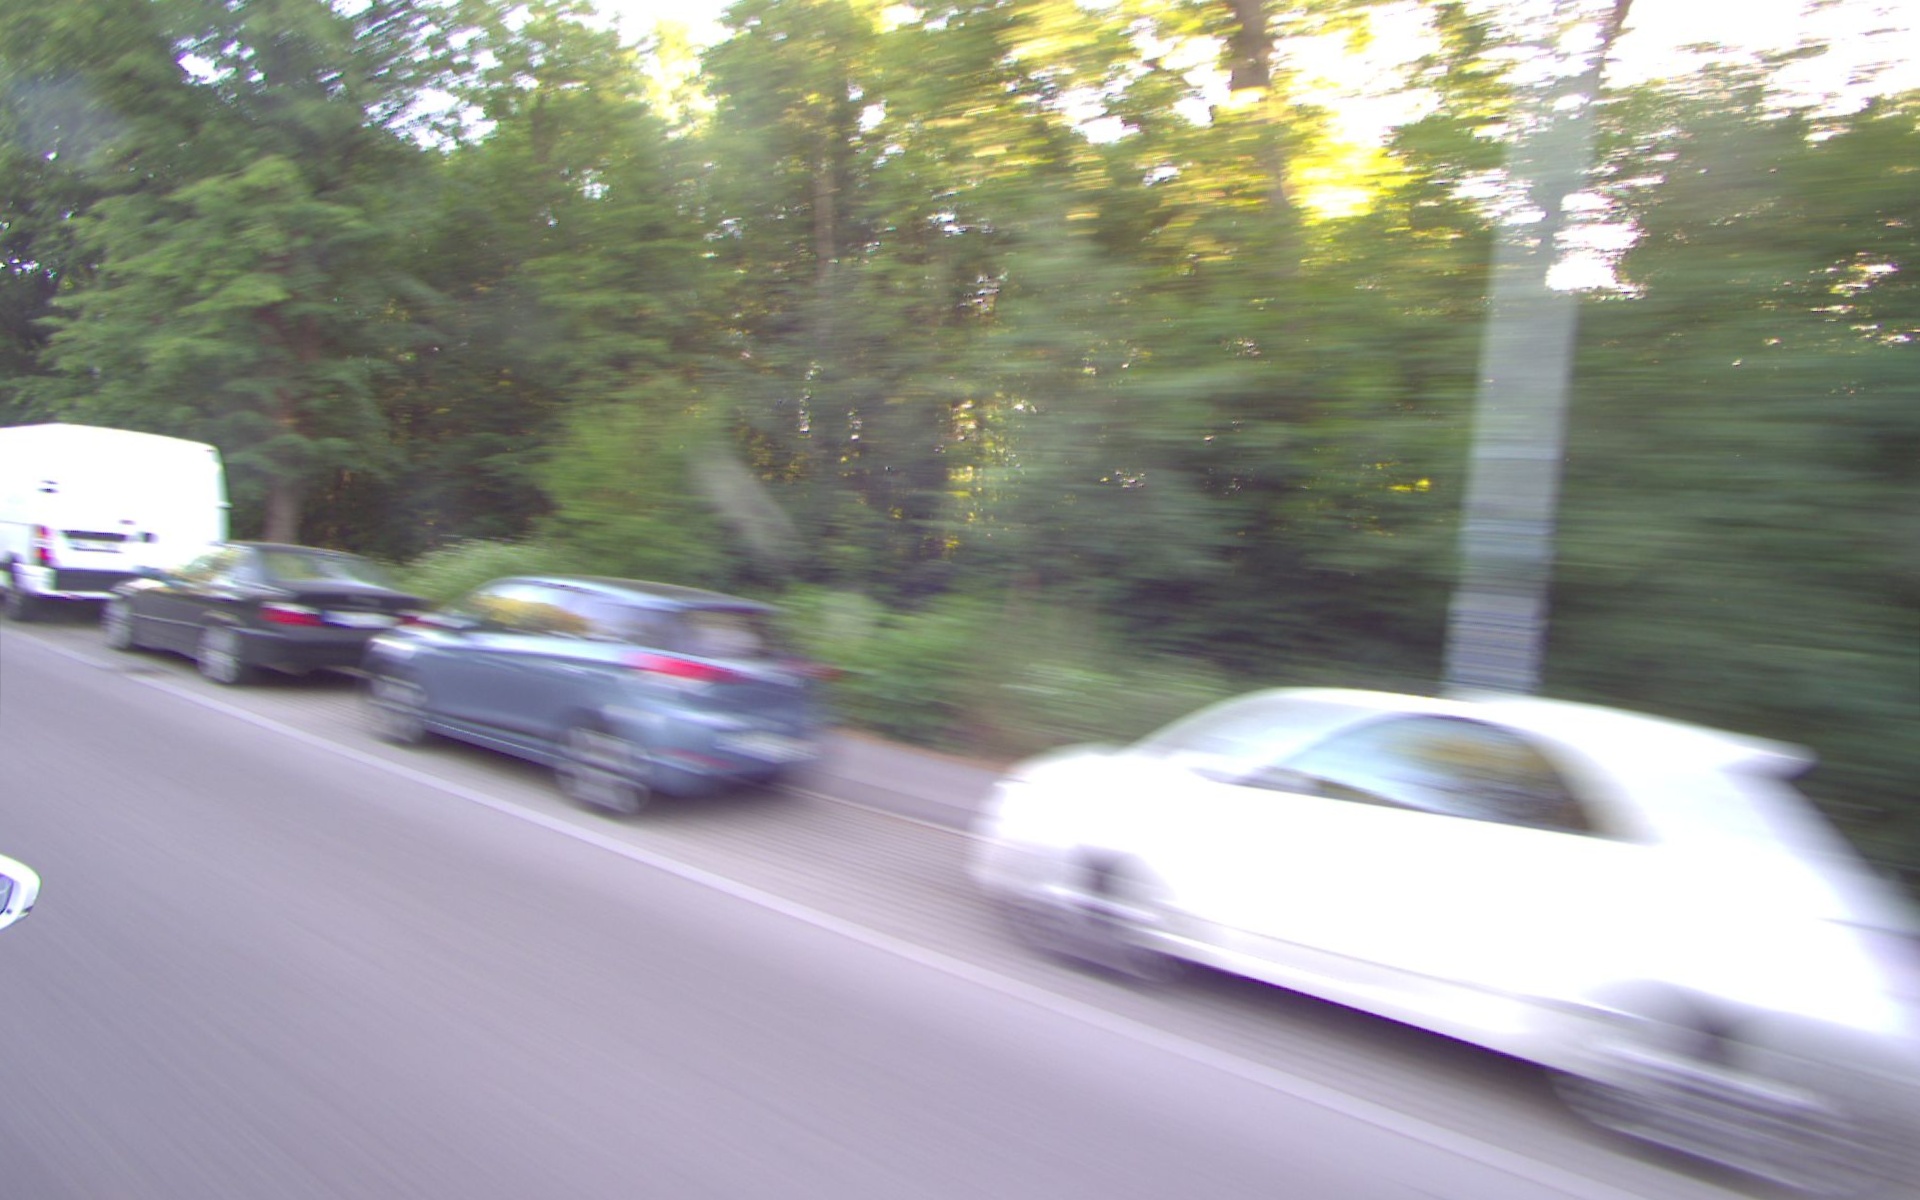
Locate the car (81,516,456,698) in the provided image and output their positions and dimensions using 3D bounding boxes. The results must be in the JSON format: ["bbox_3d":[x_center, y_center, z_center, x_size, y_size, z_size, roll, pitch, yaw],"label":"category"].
[{"bbox_3d":[-7.561,0.012,10.837,4.575,1.418,1.678,6,0,34],"label":"car"}]

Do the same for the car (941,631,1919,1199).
[{"bbox_3d":[1.941,1.108,4.701,3.628,1.482,1.679,6,0,33],"label":"car"}]

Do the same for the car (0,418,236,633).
[{"bbox_3d":[-12.468,-1.084,14.100,5.487,2.454,1.904,6,1,35],"label":"car"}]

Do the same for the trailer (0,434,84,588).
[{"bbox_3d":[-17.830,-1.707,18.036,5.045,2.454,1.904,6,1,35],"label":"trailer"}]

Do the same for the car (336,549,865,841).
[{"bbox_3d":[-2.871,0.558,7.728,4.001,1.482,1.678,6,0,34],"label":"car"}]
